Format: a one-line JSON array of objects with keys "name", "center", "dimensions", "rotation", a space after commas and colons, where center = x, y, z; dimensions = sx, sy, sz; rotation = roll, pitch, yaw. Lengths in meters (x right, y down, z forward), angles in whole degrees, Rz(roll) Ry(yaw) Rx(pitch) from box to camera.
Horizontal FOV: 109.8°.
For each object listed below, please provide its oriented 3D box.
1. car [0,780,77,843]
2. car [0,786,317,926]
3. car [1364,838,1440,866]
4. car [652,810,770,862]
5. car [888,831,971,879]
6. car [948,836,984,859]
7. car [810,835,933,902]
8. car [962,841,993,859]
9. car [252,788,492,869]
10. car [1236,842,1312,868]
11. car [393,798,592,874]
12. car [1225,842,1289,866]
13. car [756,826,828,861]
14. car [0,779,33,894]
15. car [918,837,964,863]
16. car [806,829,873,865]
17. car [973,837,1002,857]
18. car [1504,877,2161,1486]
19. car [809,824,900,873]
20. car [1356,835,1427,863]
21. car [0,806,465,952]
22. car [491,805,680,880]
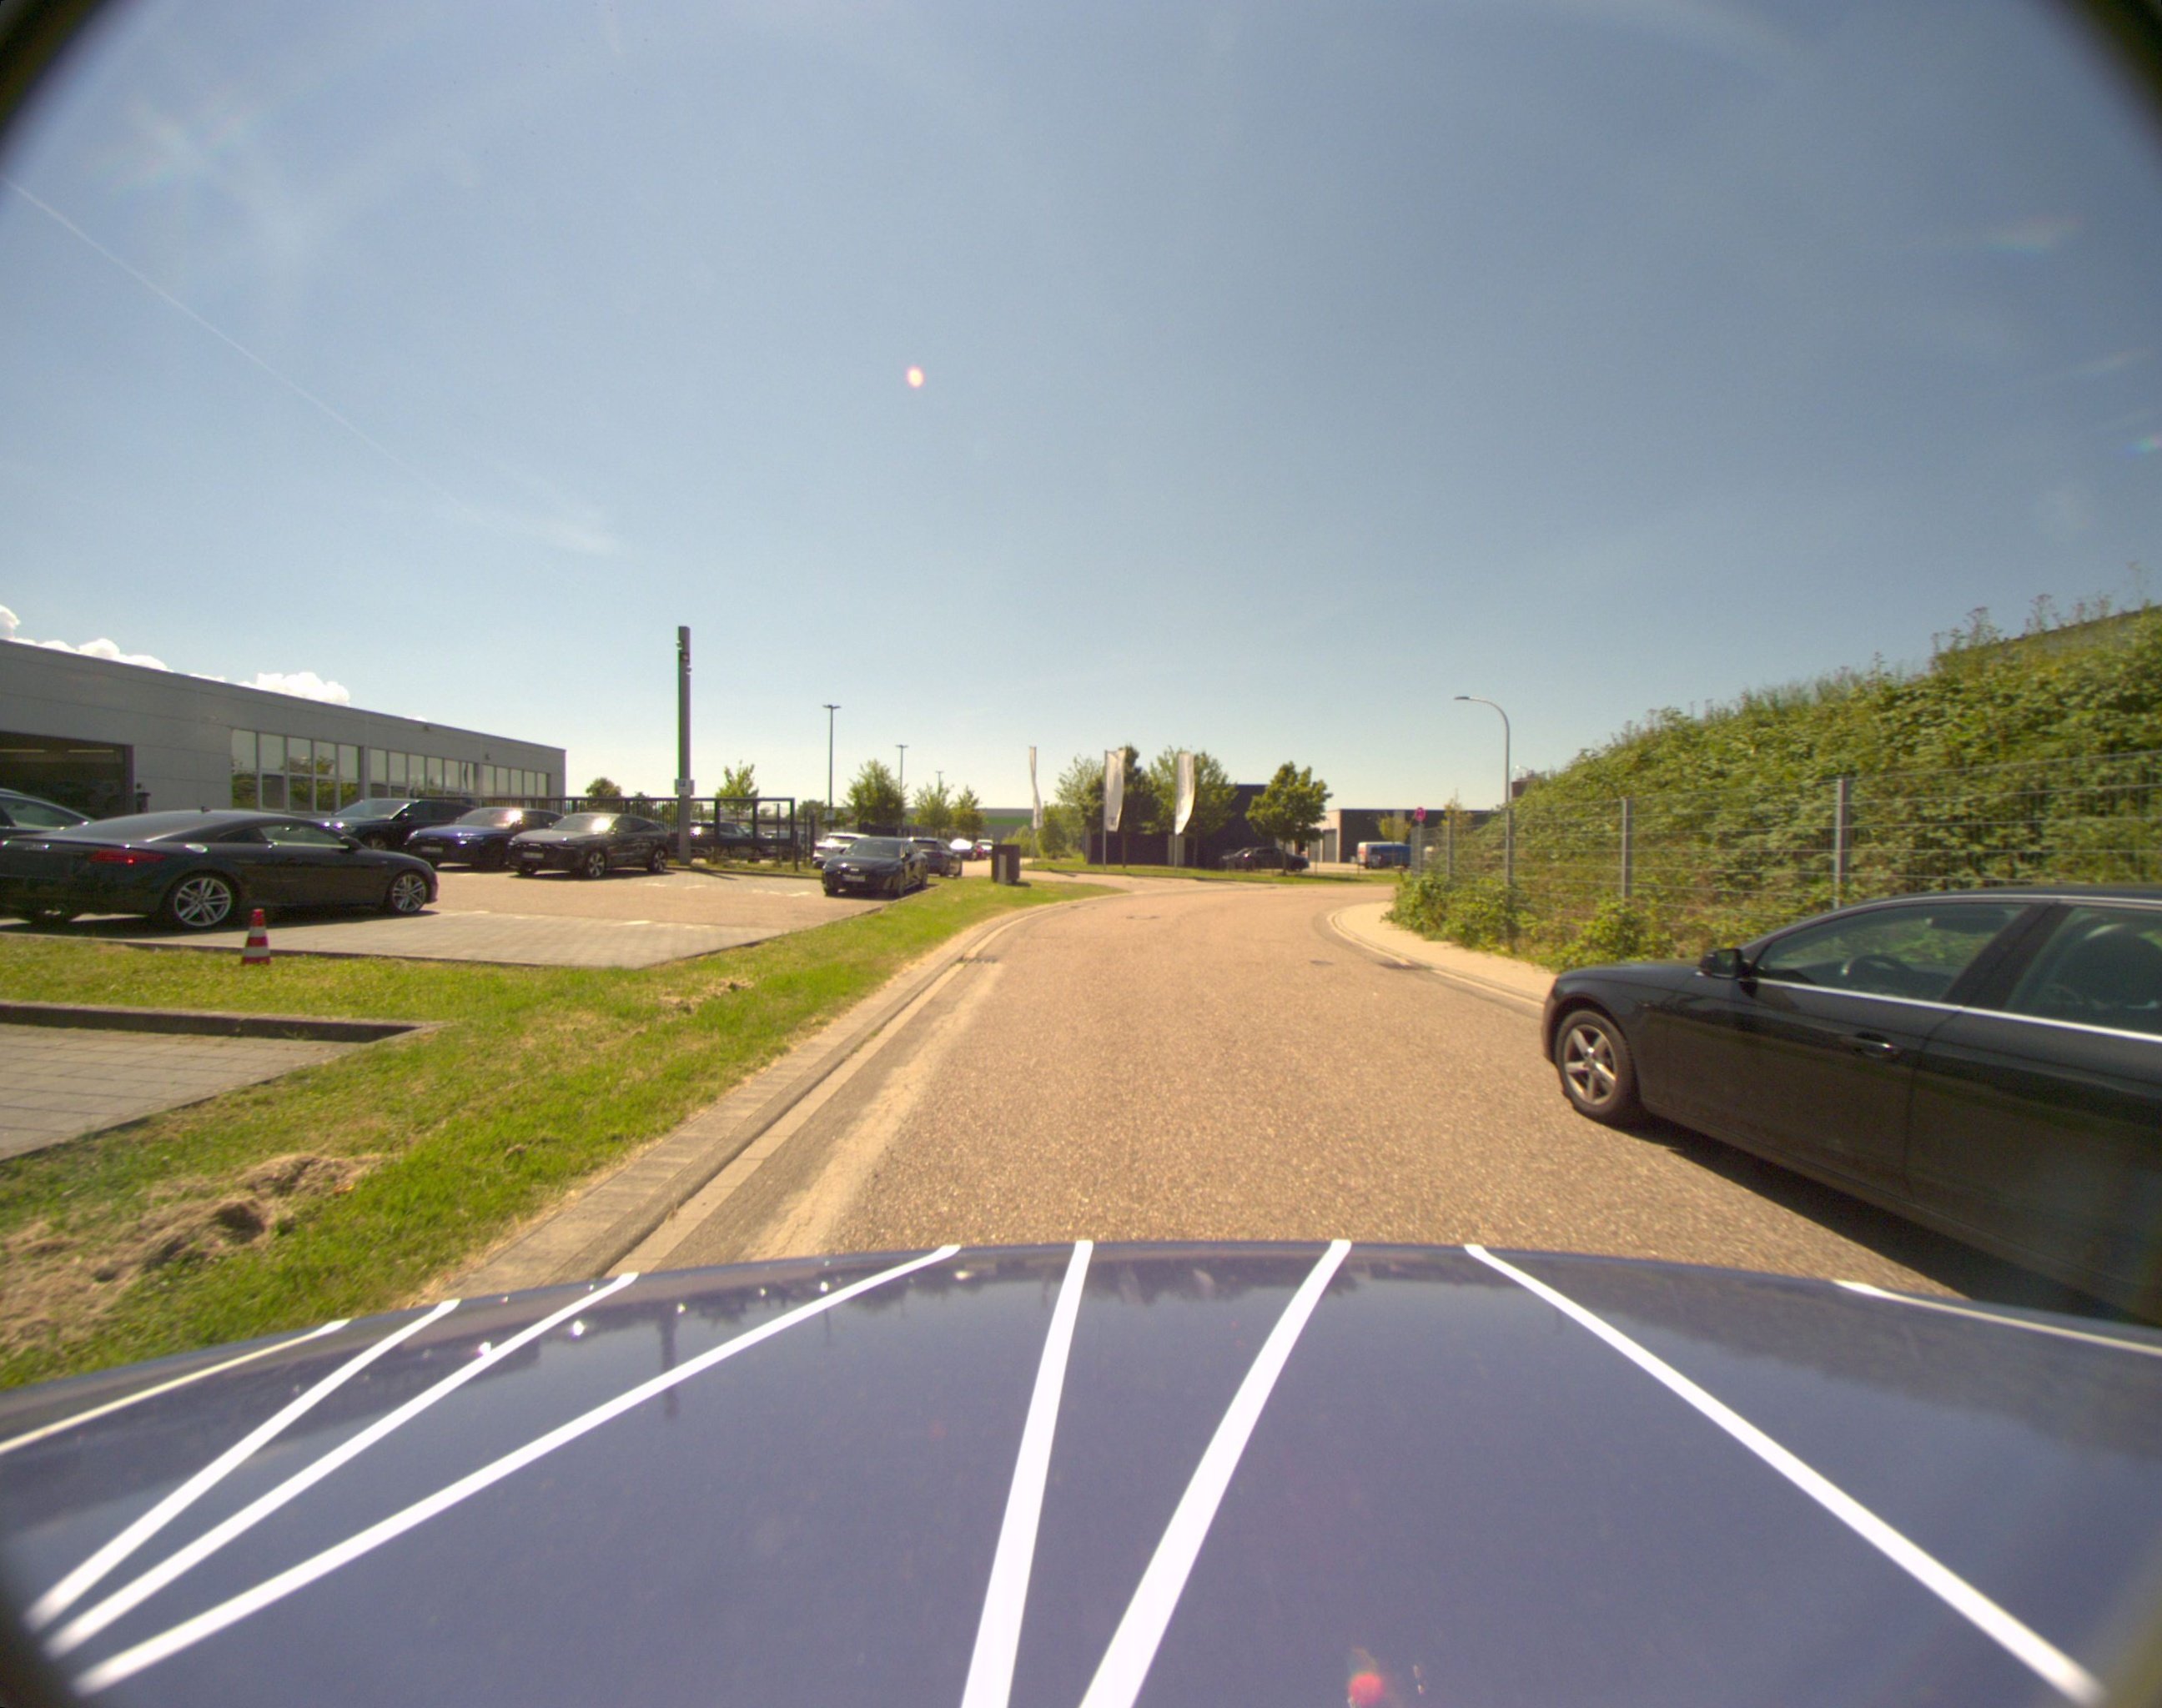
[{"name": "car", "center": [-32.758, -1.366, 22.363], "dimensions": [4.247, 1.732, 1.969], "rotation": [4, 1, 7]}, {"name": "car", "center": [-12.892, -0.032, 9.353], "dimensions": [1.966, 1.544, 5.004], "rotation": [3, 1, -1]}, {"name": "car", "center": [28.796, -0.199, 68.236], "dimensions": [5.829, 2.212, 2.143], "rotation": [2, 1, -2]}, {"name": "car", "center": [-13.060, -0.609, 27.189], "dimensions": [1.966, 1.620, 4.625], "rotation": [3, 1, -1]}, {"name": "car", "center": [-5.239, 0.003, 26.910], "dimensions": [1.966, 1.459, 4.943], "rotation": [3, 1, -1]}, {"name": "car", "center": [-8.325, -0.482, 55.393], "dimensions": [1.779, 1.558, 4.405], "rotation": [2, 1, 2]}, {"name": "car", "center": [-5.328, 0.309, 20.100], "dimensions": [1.884, 1.446, 5.022], "rotation": [3, 0, -1]}, {"name": "car", "center": [-8.329, -0.365, 61.395], "dimensions": [1.779, 1.349, 4.172], "rotation": [2, 1, 2]}, {"name": "car", "center": [-18.326, -0.622, 20.036], "dimensions": [1.966, 1.732, 4.625], "rotation": [4, 1, -1]}, {"name": "car", "center": [12.133, 0.021, 47.925], "dimensions": [4.280, 1.592, 1.780], "rotation": [0, 1, -1]}, {"name": "car", "center": [-15.330, -0.442, 20.172], "dimensions": [1.829, 1.684, 4.416], "rotation": [4, 1, -1]}, {"name": "car", "center": [12.732, -0.020, 55.029], "dimensions": [4.169, 1.558, 1.780], "rotation": [2, 1, -1]}, {"name": "car", "center": [-14.845, -0.547, 39.298], "dimensions": [1.966, 1.620, 4.625], "rotation": [3, 1, -1]}, {"name": "car", "center": [-15.965, -0.262, 8.710], "dimensions": [1.966, 1.604, 4.287], "rotation": [3, 1, -1]}, {"name": "car", "center": [-8.422, -0.264, 46.103], "dimensions": [1.779, 1.393, 4.573], "rotation": [2, 1, 2]}, {"name": "car", "center": [-12.234, -0.353, 38.850], "dimensions": [1.966, 1.620, 4.625], "rotation": [3, 1, -1]}, {"name": "car", "center": [-8.245, -0.609, 66.996], "dimensions": [1.823, 1.637, 4.396], "rotation": [2, 1, 2]}, {"name": "car", "center": [3.698, 0.915, 2.609], "dimensions": [1.829, 1.446, 4.579], "rotation": [1, 1, -1]}, {"name": "car", "center": [-8.007, -0.209, 27.387], "dimensions": [1.824, 1.520, 4.943], "rotation": [3, 1, -1]}, {"name": "car", "center": [29.087, -0.467, 71.296], "dimensions": [5.675, 2.443, 2.196], "rotation": [-2, 0, -1]}, {"name": "car", "center": [-10.442, 0.228, 9.511], "dimensions": [1.966, 1.367, 4.311], "rotation": [3, 0, -1]}, {"name": "car", "center": [-12.734, -0.293, 19.977], "dimensions": [1.829, 1.634, 4.784], "rotation": [4, 1, -1]}]
